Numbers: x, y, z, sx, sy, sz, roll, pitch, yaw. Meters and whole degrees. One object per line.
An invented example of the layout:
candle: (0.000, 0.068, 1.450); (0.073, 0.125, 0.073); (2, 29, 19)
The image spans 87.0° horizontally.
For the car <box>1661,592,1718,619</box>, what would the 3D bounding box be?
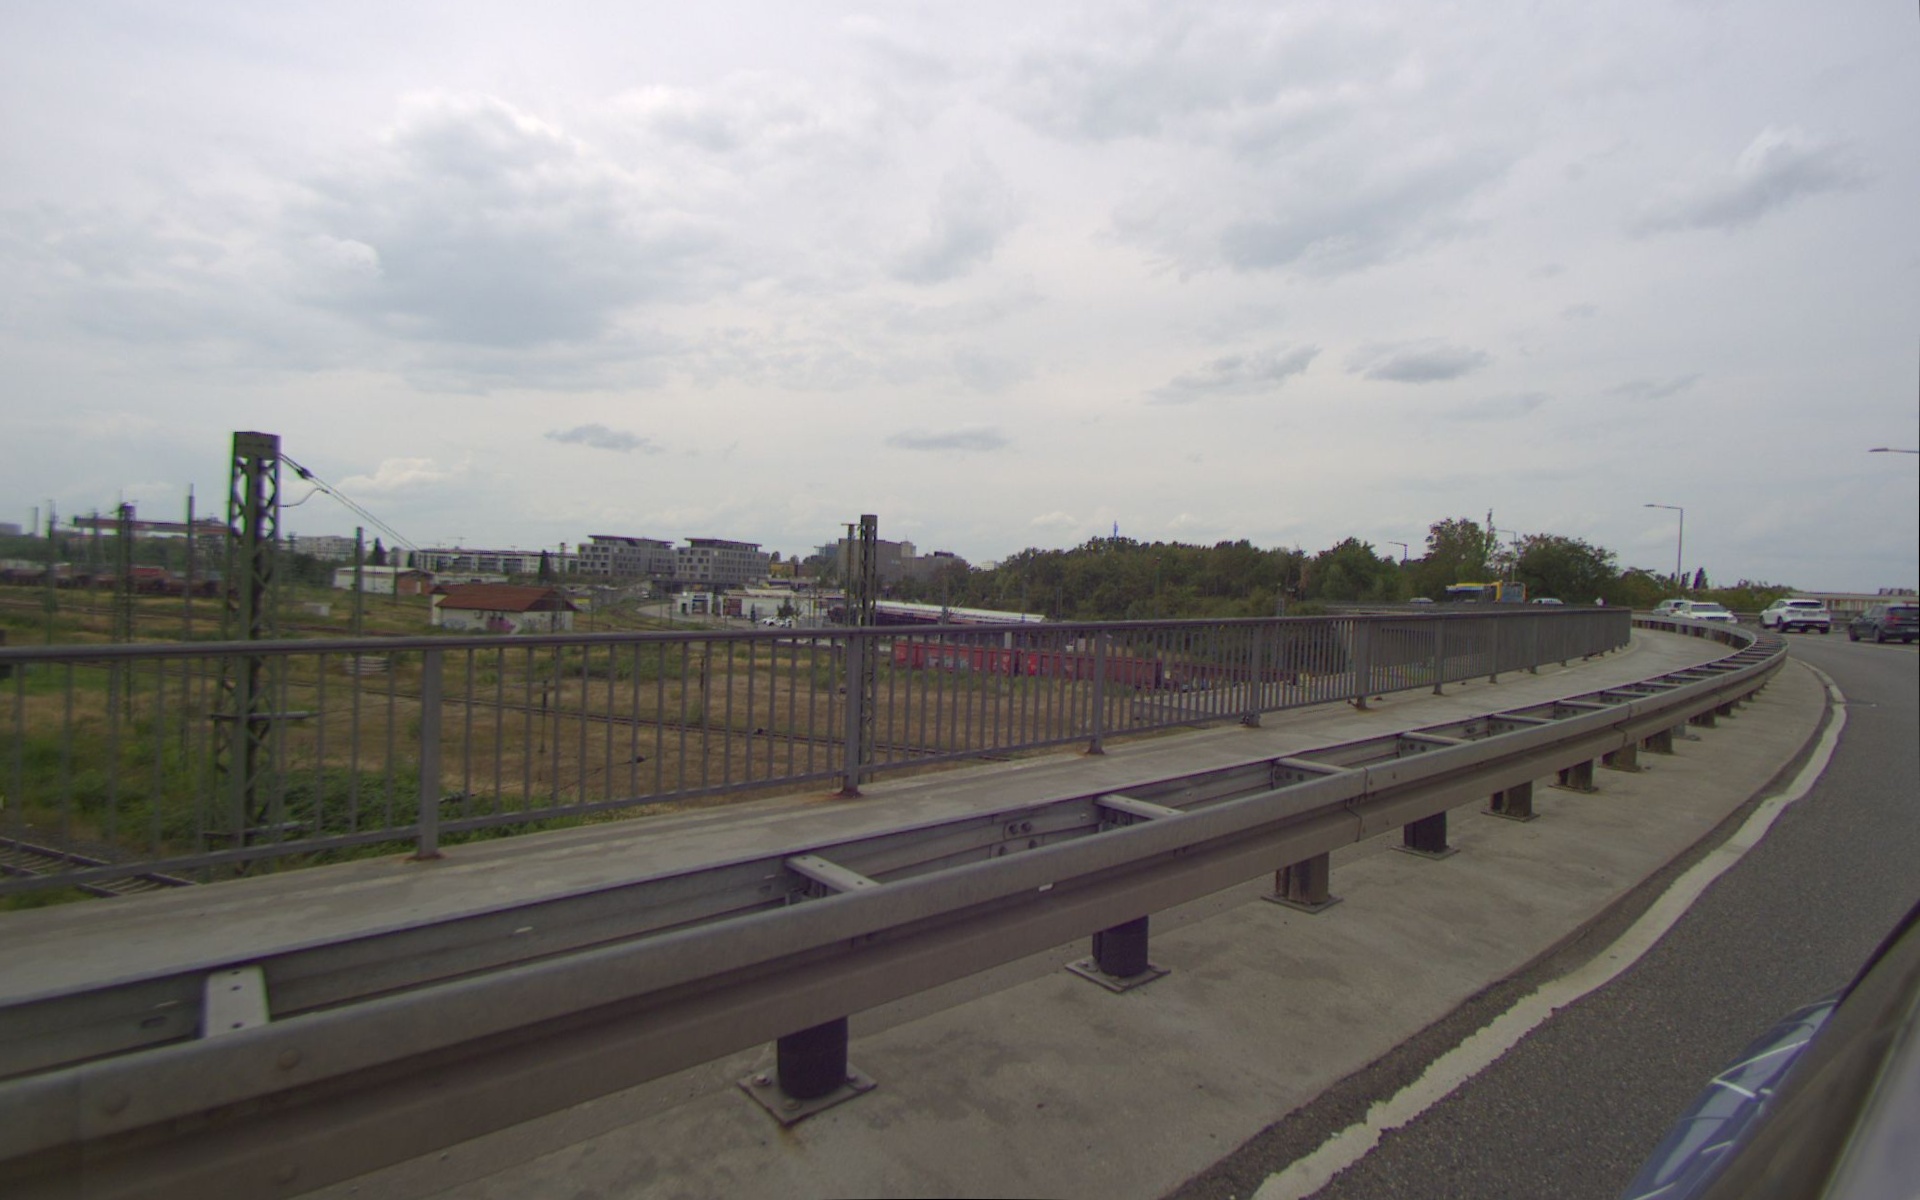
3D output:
car: (45.479, 0.306, 63.171); (1.801, 1.640, 4.368); (0, 0, 20)

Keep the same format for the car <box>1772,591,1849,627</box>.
car: (40.420, 0.389, 48.201); (1.930, 1.613, 4.724); (0, 0, 29)

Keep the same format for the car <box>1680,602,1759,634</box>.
car: (36.975, 0.838, 49.400); (1.913, 1.475, 3.862); (0, 0, 18)

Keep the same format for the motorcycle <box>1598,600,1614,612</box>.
motorcycle: (54.793, 0.471, 85.819); (0.618, 0.975, 1.832); (0, 0, 14)

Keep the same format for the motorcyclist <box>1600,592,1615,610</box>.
motorcyclist: (54.766, 0.100, 85.610); (0.800, 1.549, 0.821); (0, 0, 13)

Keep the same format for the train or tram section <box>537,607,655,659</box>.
train or tram section: (-43.235, 3.783, 119.916); (15.413, 5.695, 3.768); (0, 0, 27)

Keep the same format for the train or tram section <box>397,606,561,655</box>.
train or tram section: (-61.549, 3.717, 128.842); (25.431, 5.549, 3.957); (0, 0, 26)

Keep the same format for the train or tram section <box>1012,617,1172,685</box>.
train or tram section: (11.901, 4.486, 92.255); (14.117, 5.669, 3.625); (0, 0, 27)

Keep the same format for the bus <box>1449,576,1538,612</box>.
bus: (51.859, -0.618, 98.933); (2.988, 3.274, 12.931); (0, 0, 5)

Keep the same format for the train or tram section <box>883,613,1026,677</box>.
train or tram section: (-0.594, 4.205, 98.553); (13.766, 5.749, 3.810); (0, 0, 26)

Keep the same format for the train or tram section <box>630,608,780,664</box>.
train or tram section: (-28.412, 3.857, 112.166); (18.097, 5.714, 3.923); (0, 0, 27)

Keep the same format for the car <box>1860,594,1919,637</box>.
car: (34.786, 0.536, 37.127); (1.799, 1.495, 4.335); (0, 0, 31)
